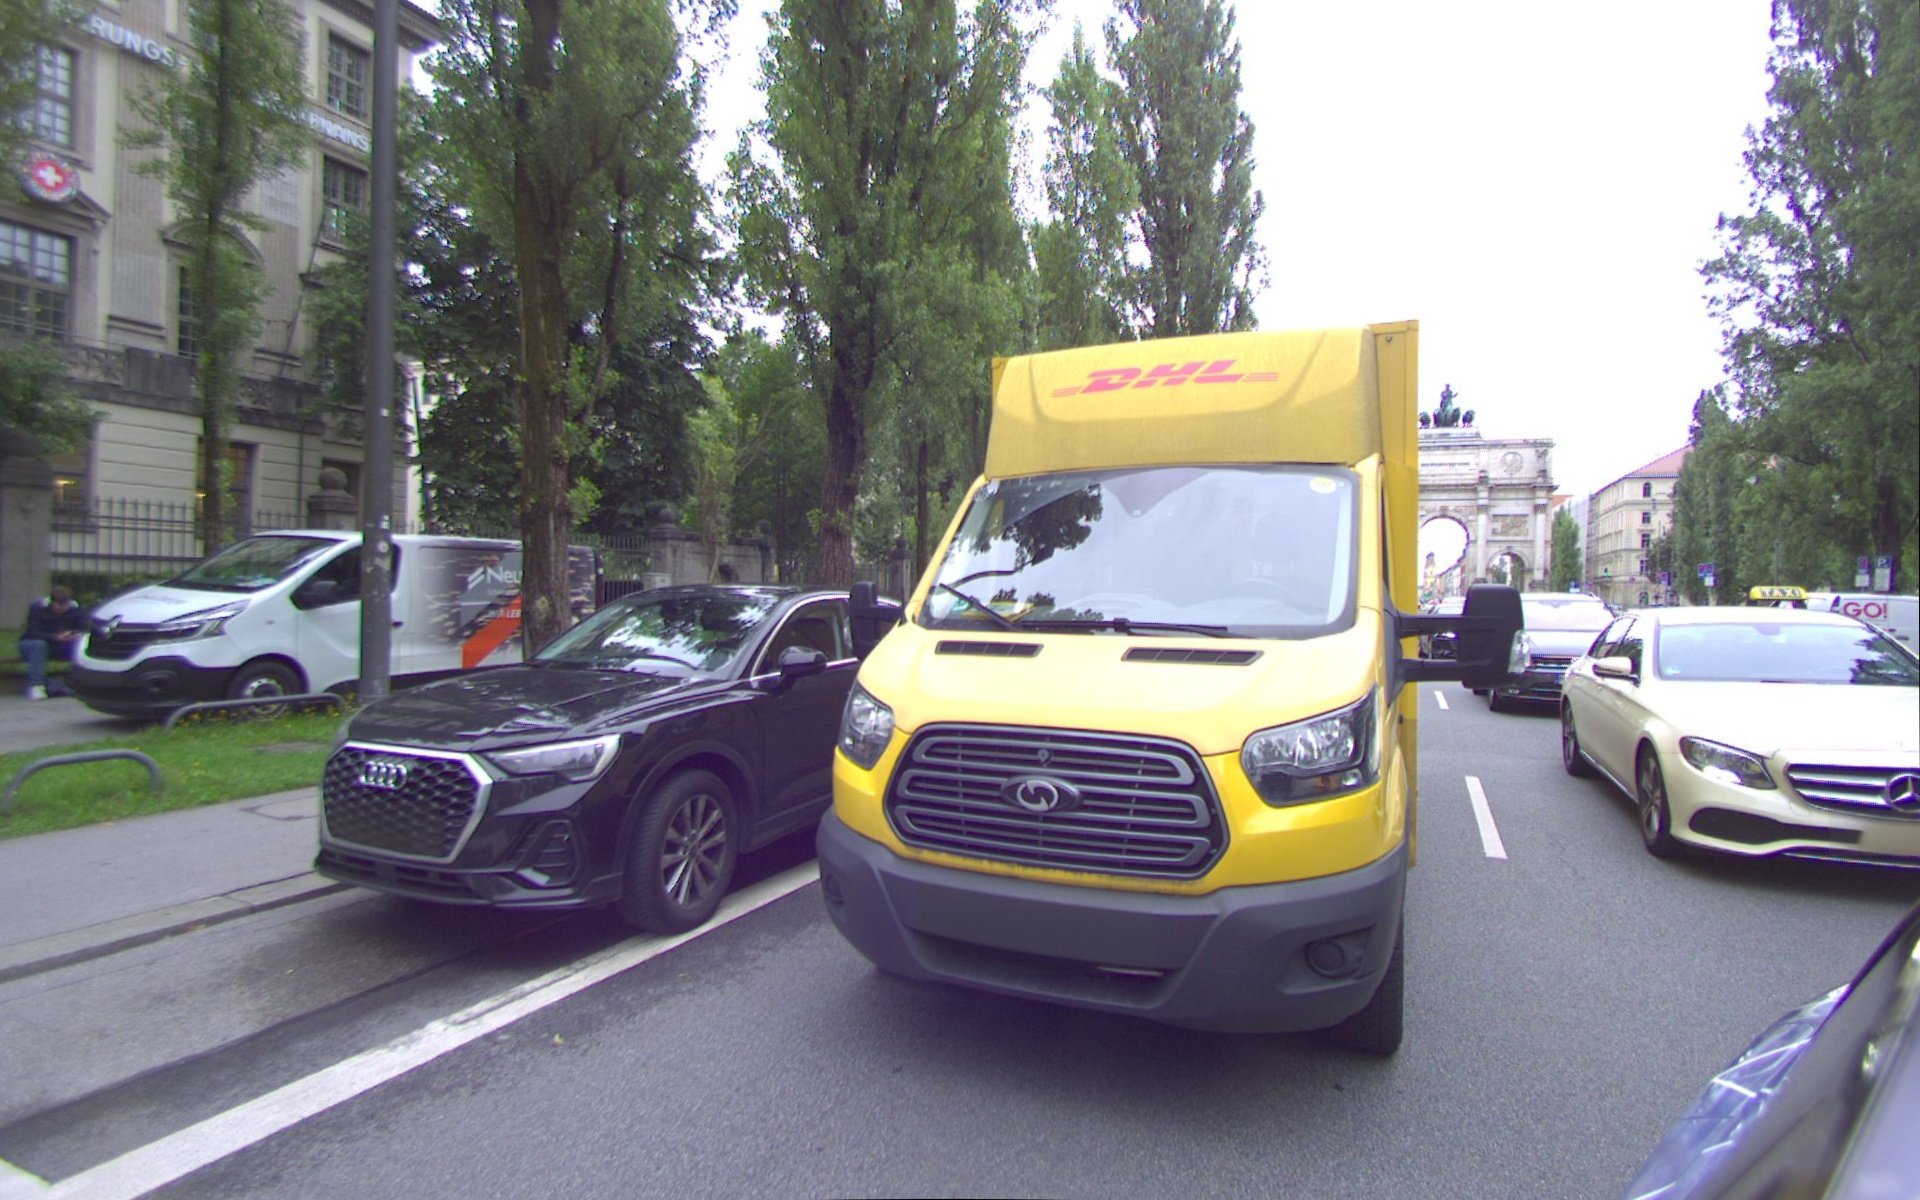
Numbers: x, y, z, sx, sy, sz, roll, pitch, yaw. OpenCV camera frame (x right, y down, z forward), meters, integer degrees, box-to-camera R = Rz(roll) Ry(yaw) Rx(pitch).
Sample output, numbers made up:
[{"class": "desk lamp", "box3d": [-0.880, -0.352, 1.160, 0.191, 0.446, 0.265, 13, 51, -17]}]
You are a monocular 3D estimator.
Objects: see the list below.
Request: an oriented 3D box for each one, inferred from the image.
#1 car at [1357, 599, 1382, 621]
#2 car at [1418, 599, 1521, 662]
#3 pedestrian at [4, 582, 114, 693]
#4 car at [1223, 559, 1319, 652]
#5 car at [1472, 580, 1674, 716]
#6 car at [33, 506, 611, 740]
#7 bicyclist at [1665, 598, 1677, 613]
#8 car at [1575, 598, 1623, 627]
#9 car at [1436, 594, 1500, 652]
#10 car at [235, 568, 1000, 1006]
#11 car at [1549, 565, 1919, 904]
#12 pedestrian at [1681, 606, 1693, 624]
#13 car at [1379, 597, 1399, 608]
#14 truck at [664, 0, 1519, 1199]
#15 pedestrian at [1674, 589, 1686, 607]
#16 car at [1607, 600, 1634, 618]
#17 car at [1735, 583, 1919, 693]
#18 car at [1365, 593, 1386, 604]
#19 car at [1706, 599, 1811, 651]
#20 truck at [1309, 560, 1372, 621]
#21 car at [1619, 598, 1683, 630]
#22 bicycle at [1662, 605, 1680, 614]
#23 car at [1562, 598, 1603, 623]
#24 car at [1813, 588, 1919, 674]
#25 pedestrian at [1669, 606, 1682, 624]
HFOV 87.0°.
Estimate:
[{"class": "car", "box3d": [33.560, 0.795, 82.951, 1.789, 1.649, 3.968, 2, 1, 23]}, {"class": "car", "box3d": [12.325, 0.676, 24.731, 1.902, 1.344, 4.378, -1, 0, 23]}, {"class": "pedestrian", "box3d": [-9.956, 0.395, 11.192, 0.697, 1.156, 0.719, 1, 0, 30]}, {"class": "car", "box3d": [9.522, 0.148, 30.616, 2.058, 2.510, 6.232, 0, 0, 24]}, {"class": "car", "box3d": [8.633, 0.572, 14.653, 1.933, 1.645, 4.375, -1, 0, 24]}, {"class": "car", "box3d": [-6.543, 0.158, 11.287, 1.978, 1.949, 5.282, 1, 1, 23]}, {"class": "bicyclist", "box3d": [74.223, 0.569, 105.638, 0.843, 1.517, 0.697, 1, 0, -21]}, {"class": "car", "box3d": [41.529, 0.772, 65.860, 1.923, 1.644, 4.925, 2, 2, 24]}, {"class": "car", "box3d": [17.855, 0.760, 35.721, 1.871, 1.880, 4.276, 1, 1, 25]}, {"class": "car", "box3d": [-1.384, 0.629, 5.843, 1.713, 1.514, 4.287, 1, 1, 25]}, {"class": "car", "box3d": [5.479, 0.612, 6.885, 1.899, 1.595, 4.654, -1, 0, 22]}, {"class": "pedestrian", "box3d": [68.102, 1.410, 94.784, 0.844, 1.699, 0.952, 1, 0, 42]}, {"class": "car", "box3d": [70.757, 0.385, 166.974, 1.781, 1.772, 4.256, 2, 1, 41]}, {"class": "truck", "box3d": [1.532, -0.100, 6.063, 2.308, 2.934, 7.277, 1, 1, 22]}, {"class": "pedestrian", "box3d": [82.957, -0.195, 116.529, 0.778, 2.039, 0.757, 1, 0, -10]}, {"class": "car", "box3d": [78.484, 1.026, 120.271, 1.986, 1.877, 4.946, 3, 2, 26]}, {"class": "car", "box3d": [18.177, 0.684, 20.745, 2.165, 1.915, 5.652, 3, 2, 23]}, {"class": "car", "box3d": [66.903, -0.204, 162.889, 1.781, 1.772, 4.257, 2, 1, 40]}, {"class": "car", "box3d": [28.275, 0.821, 36.009, 1.769, 1.615, 4.575, 3, 1, 24]}, {"class": "truck", "box3d": [21.832, -0.518, 57.717, 2.693, 3.149, 10.338, 2, 1, 24]}, {"class": "car", "box3d": [35.740, 0.703, 52.469, 1.917, 1.516, 4.748, 2, 0, 25]}, {"class": "bicycle", "box3d": [74.205, 0.985, 105.617, 1.699, 0.951, 0.711, 1, 0, -22]}, {"class": "car", "box3d": [44.500, 0.696, 72.455, 1.805, 1.578, 4.819, 3, 2, 24]}, {"class": "car", "box3d": [23.725, 0.753, 25.522, 1.979, 1.981, 4.896, 3, 1, 24]}, {"class": "pedestrian", "box3d": [67.503, 1.398, 95.459, 0.844, 1.699, 0.952, 1, 0, 42]}]
